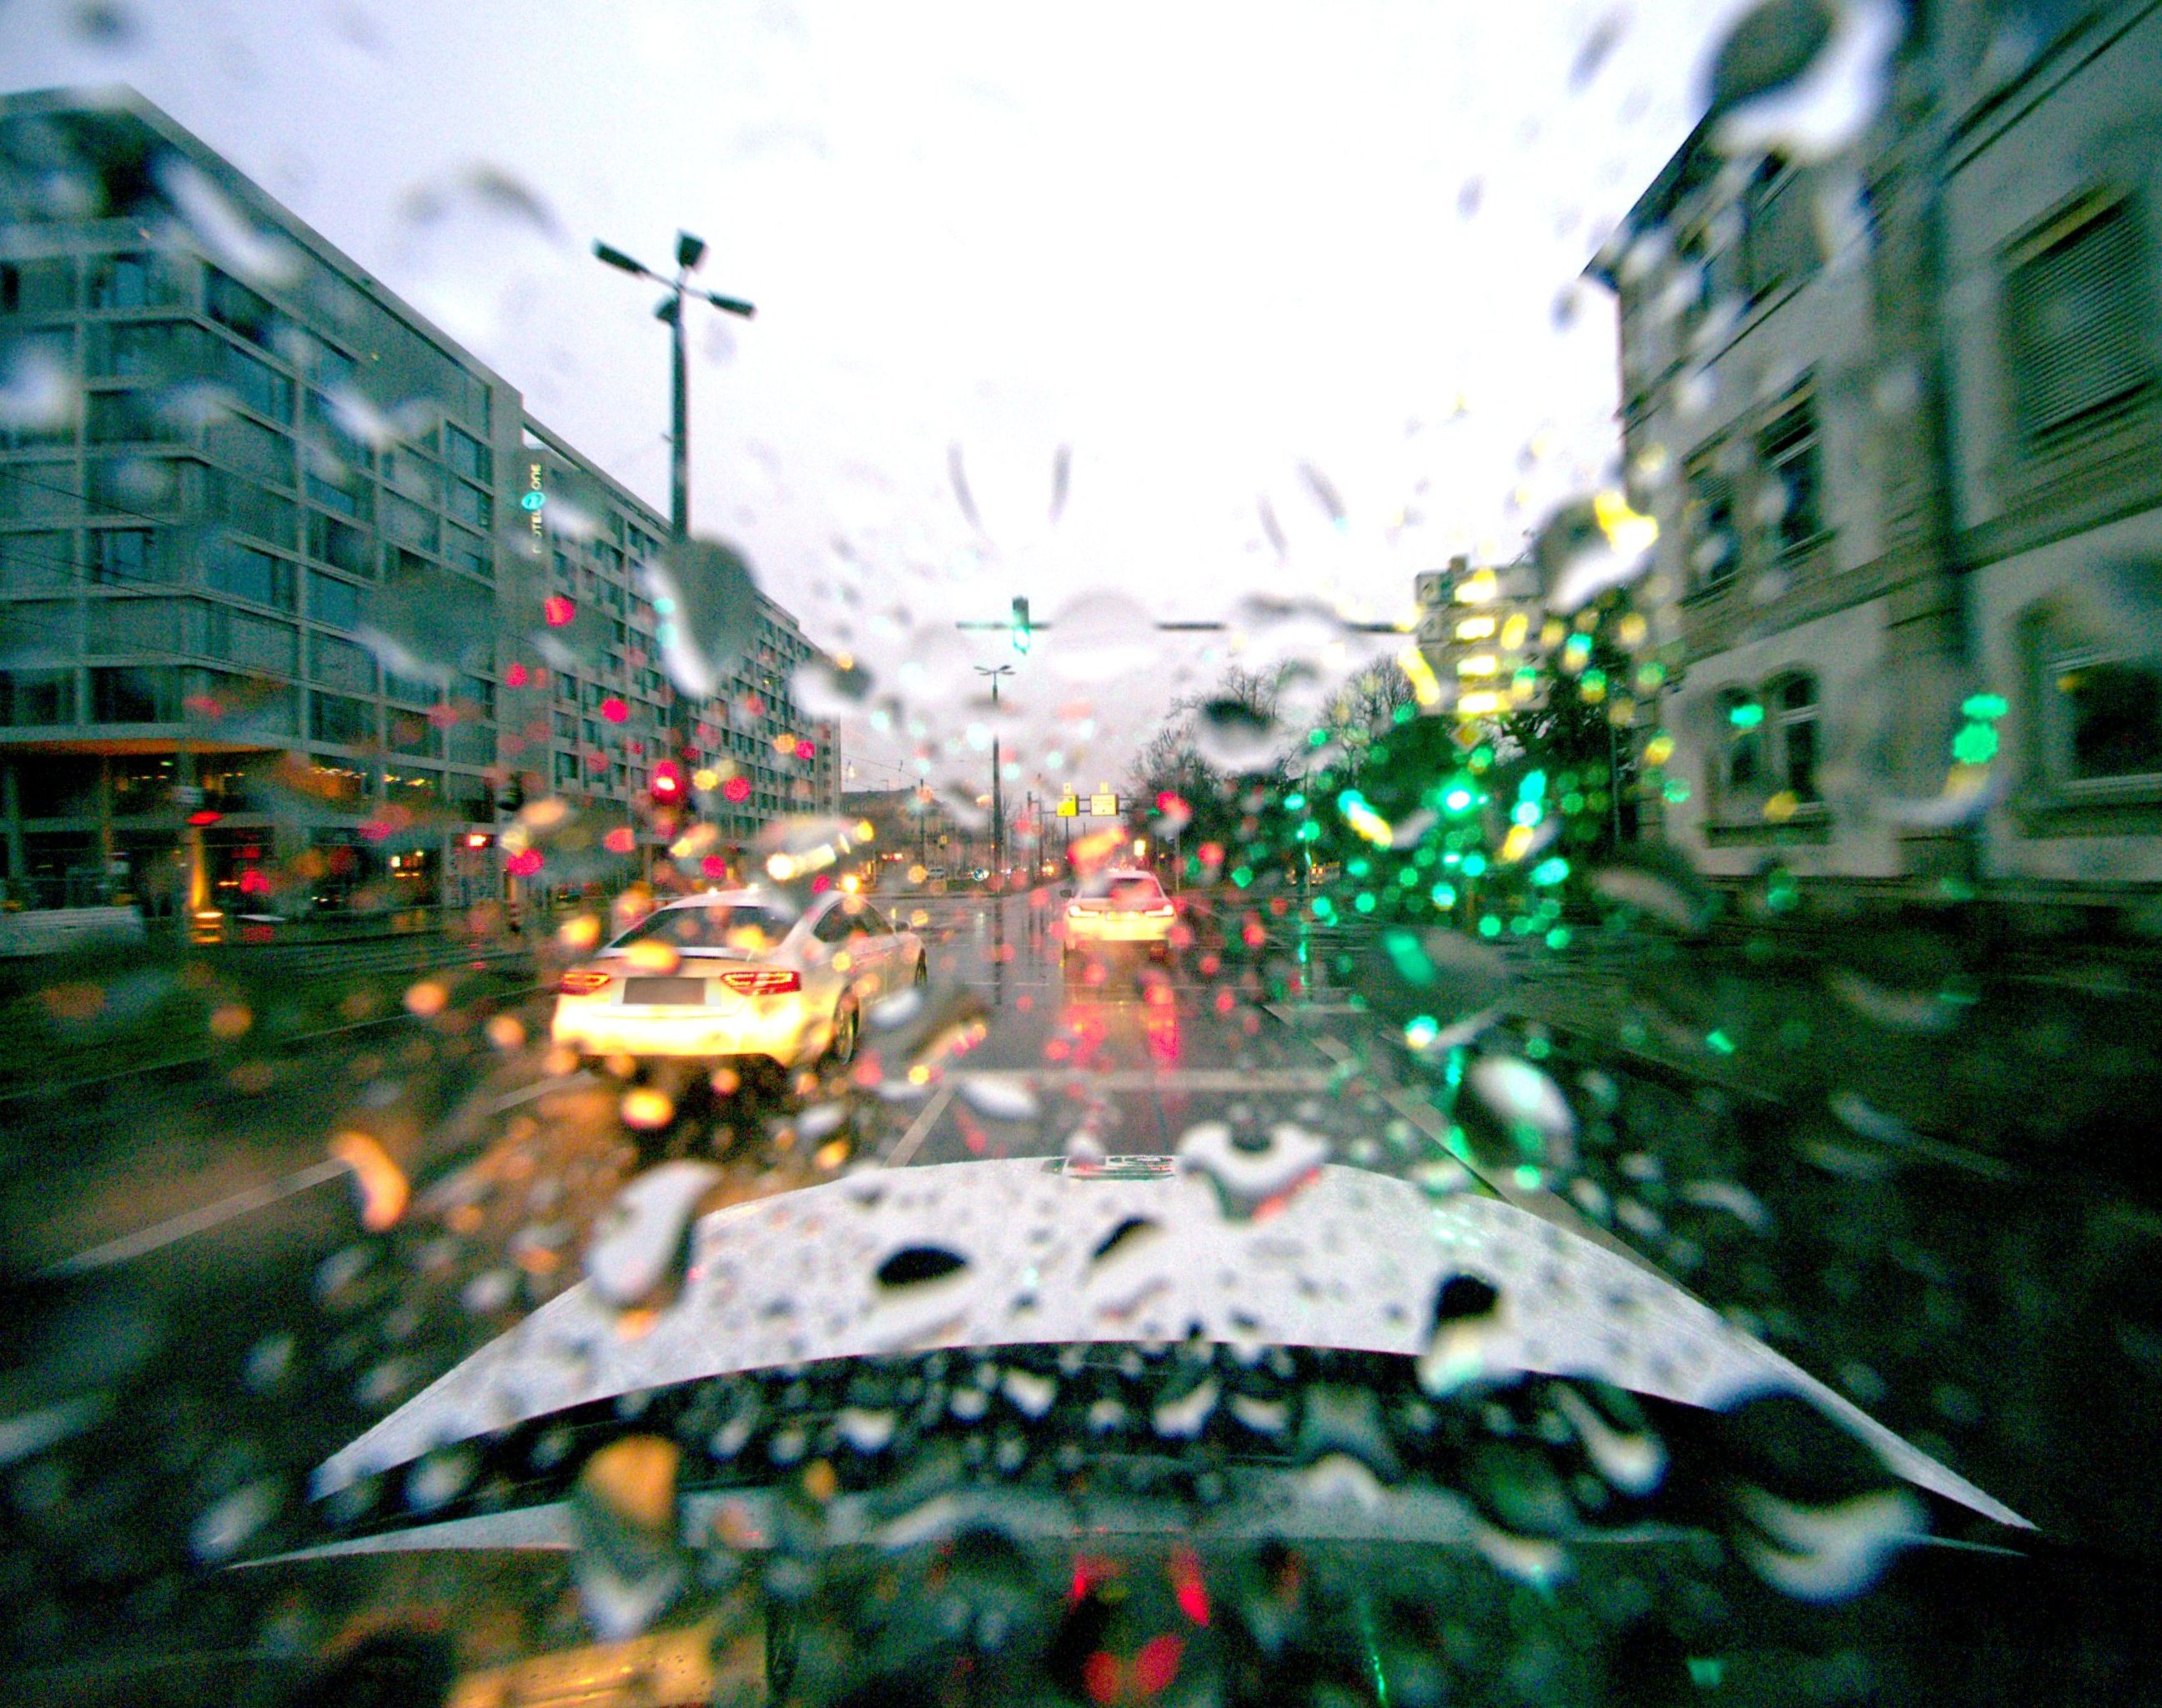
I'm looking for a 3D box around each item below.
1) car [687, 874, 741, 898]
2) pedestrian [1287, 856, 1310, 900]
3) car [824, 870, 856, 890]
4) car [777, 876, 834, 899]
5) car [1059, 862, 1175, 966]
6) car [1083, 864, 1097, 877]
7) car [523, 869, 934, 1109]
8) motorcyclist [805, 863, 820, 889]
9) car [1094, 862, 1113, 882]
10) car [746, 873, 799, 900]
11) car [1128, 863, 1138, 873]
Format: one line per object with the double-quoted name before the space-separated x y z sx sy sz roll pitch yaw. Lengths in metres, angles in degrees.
"car" -25.269 2.192 56.237 1.875 1.574 3.999 0 -1 0
"pedestrian" 9.577 1.045 35.808 0.677 1.879 0.707 1 -2 -33
"car" -18.634 1.986 63.054 1.995 1.462 5.073 0 -1 -12
"car" -18.873 2.295 55.980 1.986 1.462 5.097 0 -1 2
"car" 0.491 0.941 14.387 1.755 1.553 4.248 0 -1 -2
"car" 1.435 2.522 126.022 1.986 2.014 4.001 0 -1 2
"car" -2.558 0.871 7.169 1.754 1.470 4.250 0 -1 0
"motorcyclist" -20.299 1.658 61.519 0.870 1.885 1.031 0 -1 -6
"car" 2.334 1.836 84.557 1.986 2.014 4.001 0 -1 2
"car" -21.844 2.290 57.782 1.874 1.789 4.600 0 -1 2
"car" 10.801 2.996 169.753 1.986 2.014 4.001 0 -1 2
